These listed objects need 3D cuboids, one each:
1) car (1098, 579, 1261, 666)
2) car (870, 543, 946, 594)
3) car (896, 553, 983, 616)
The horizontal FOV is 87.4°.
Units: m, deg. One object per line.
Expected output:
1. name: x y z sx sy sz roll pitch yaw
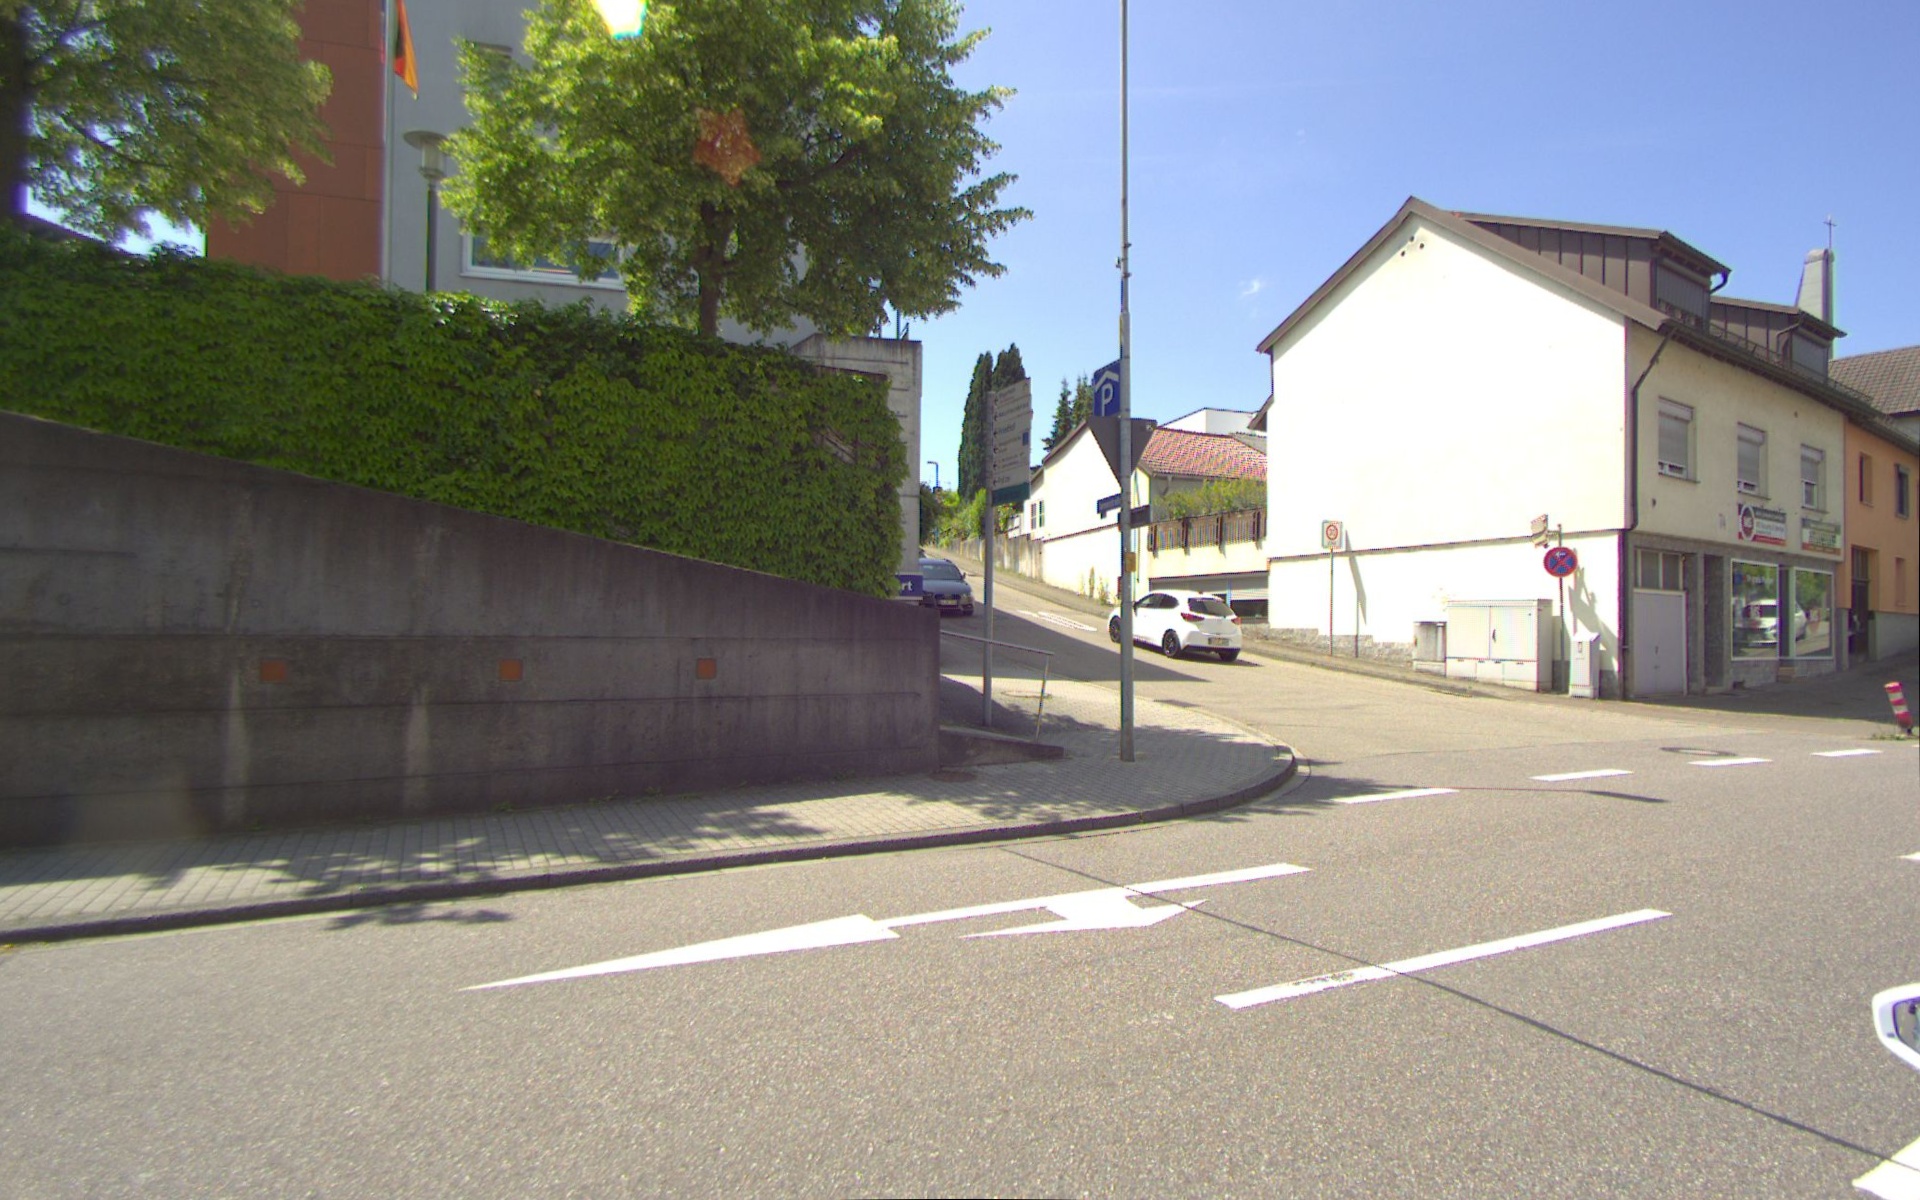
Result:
1. car: 5.056 0.448 23.733 1.787 1.488 3.978 0 7 -21
2. car: -1.916 -1.151 35.537 1.965 1.441 4.493 1 6 -12
3. car: -0.705 -0.519 29.775 1.727 1.441 4.493 1 6 -12
